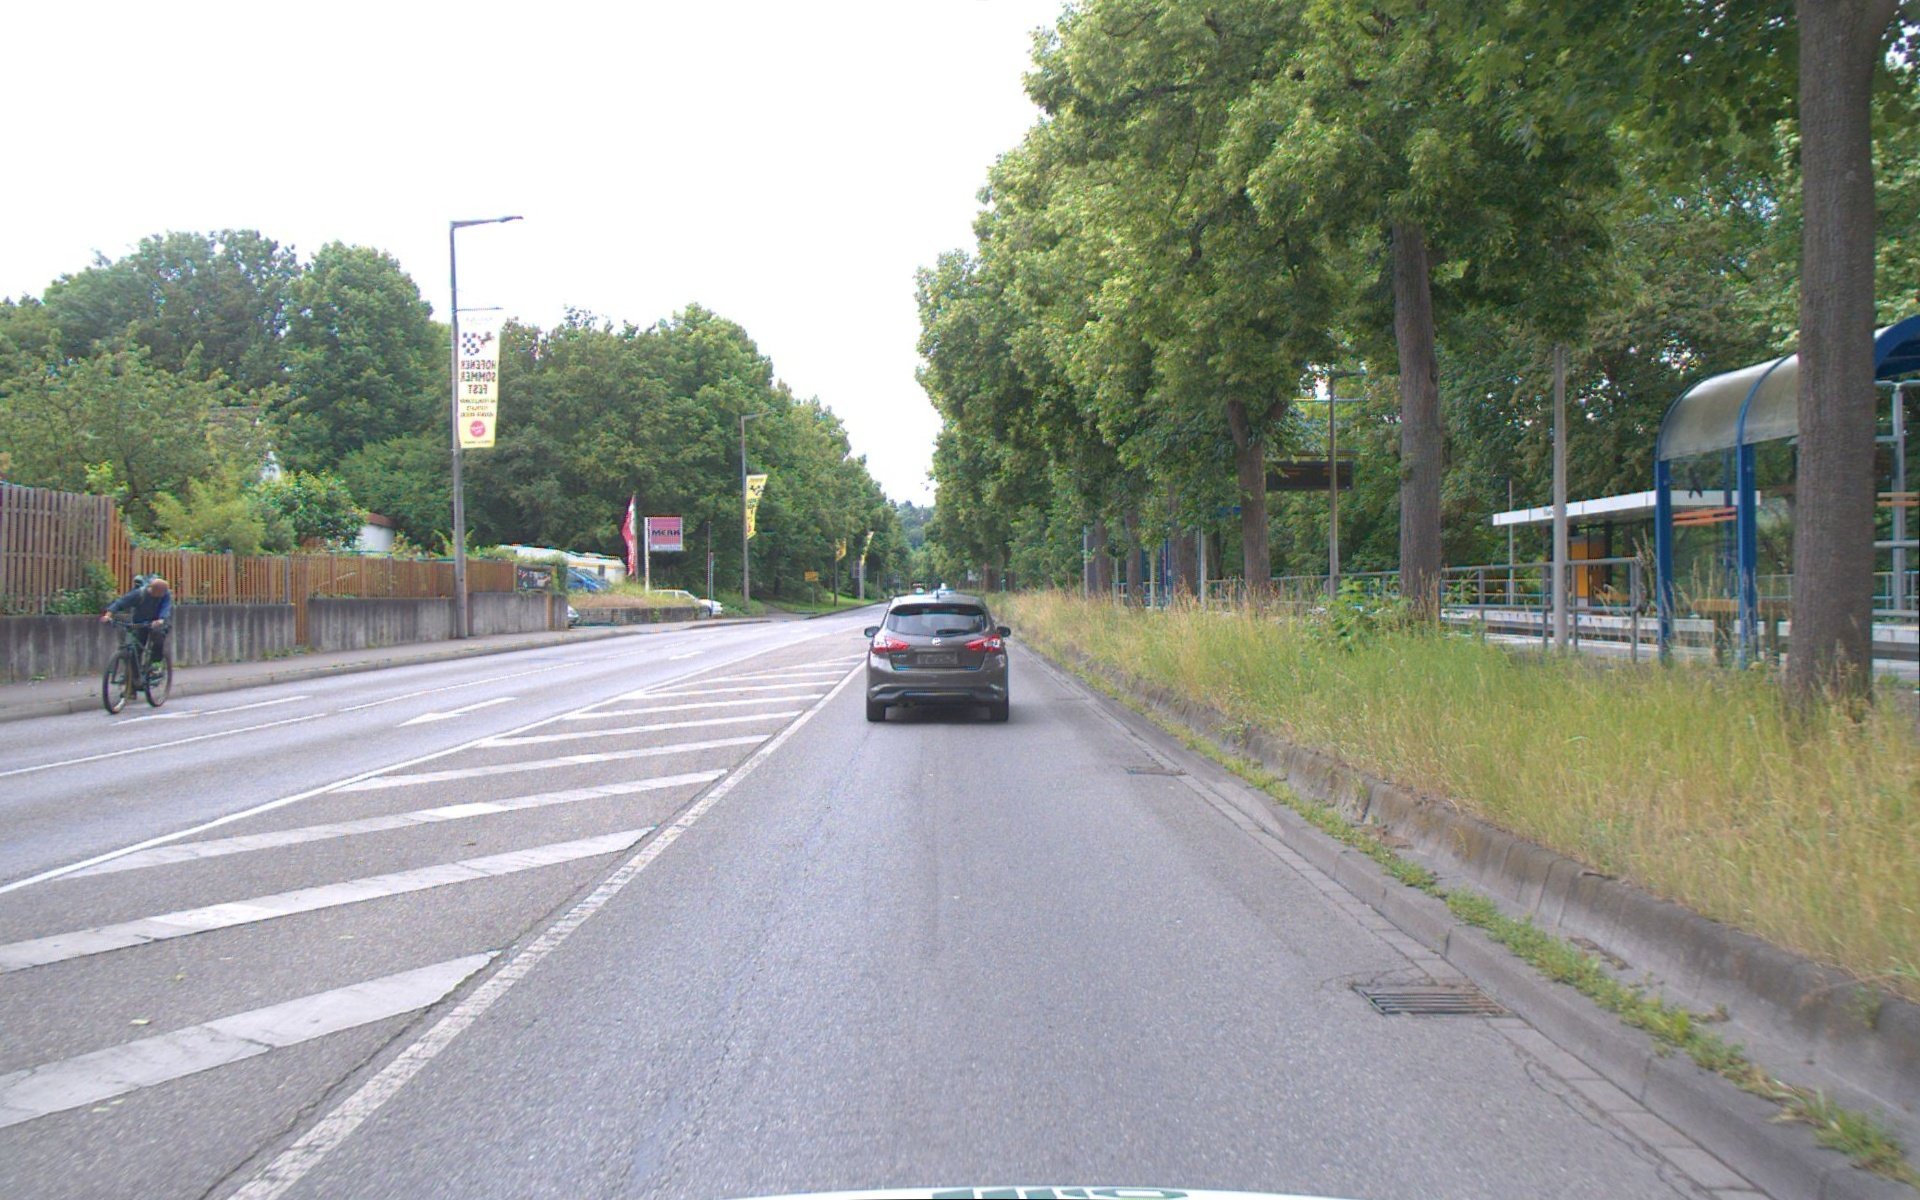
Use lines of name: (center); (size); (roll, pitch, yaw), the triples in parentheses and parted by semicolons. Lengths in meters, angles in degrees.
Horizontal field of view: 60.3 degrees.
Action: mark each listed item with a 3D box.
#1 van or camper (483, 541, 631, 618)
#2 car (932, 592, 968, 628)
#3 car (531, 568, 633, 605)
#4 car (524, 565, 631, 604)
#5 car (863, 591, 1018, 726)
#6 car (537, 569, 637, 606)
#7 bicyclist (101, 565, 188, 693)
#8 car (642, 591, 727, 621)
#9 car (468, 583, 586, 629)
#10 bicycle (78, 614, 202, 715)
van or camper: (-21.525, -1.081, 88.603); (6.998, 3.429, 2.796); (5, 0, -1)
car: (-0.429, 0.451, 74.741); (1.472, 1.555, 3.671); (1, 0, 1)
car: (-16.115, -0.575, 70.561); (3.903, 1.435, 1.534); (1, -1, 4)
car: (-15.873, -0.640, 68.695); (3.903, 1.523, 1.860); (1, -1, 4)
car: (-0.185, 0.688, 21.313); (1.799, 1.555, 3.929); (0, 0, 1)
car: (-16.324, -0.550, 72.516); (3.903, 1.518, 1.648); (1, -1, 4)
bicyclist: (-10.211, 0.353, 20.728); (0.629, 1.562, 0.977); (1, 0, -5)
car: (-14.776, 0.325, 88.900); (4.287, 1.466, 1.960); (1, 0, -3)
car: (-16.482, 0.240, 63.057); (3.905, 1.646, 2.000); (1, -1, 0)
bicycle: (-10.297, 0.780, 20.846); (0.629, 1.165, 2.145); (1, 0, -5)
